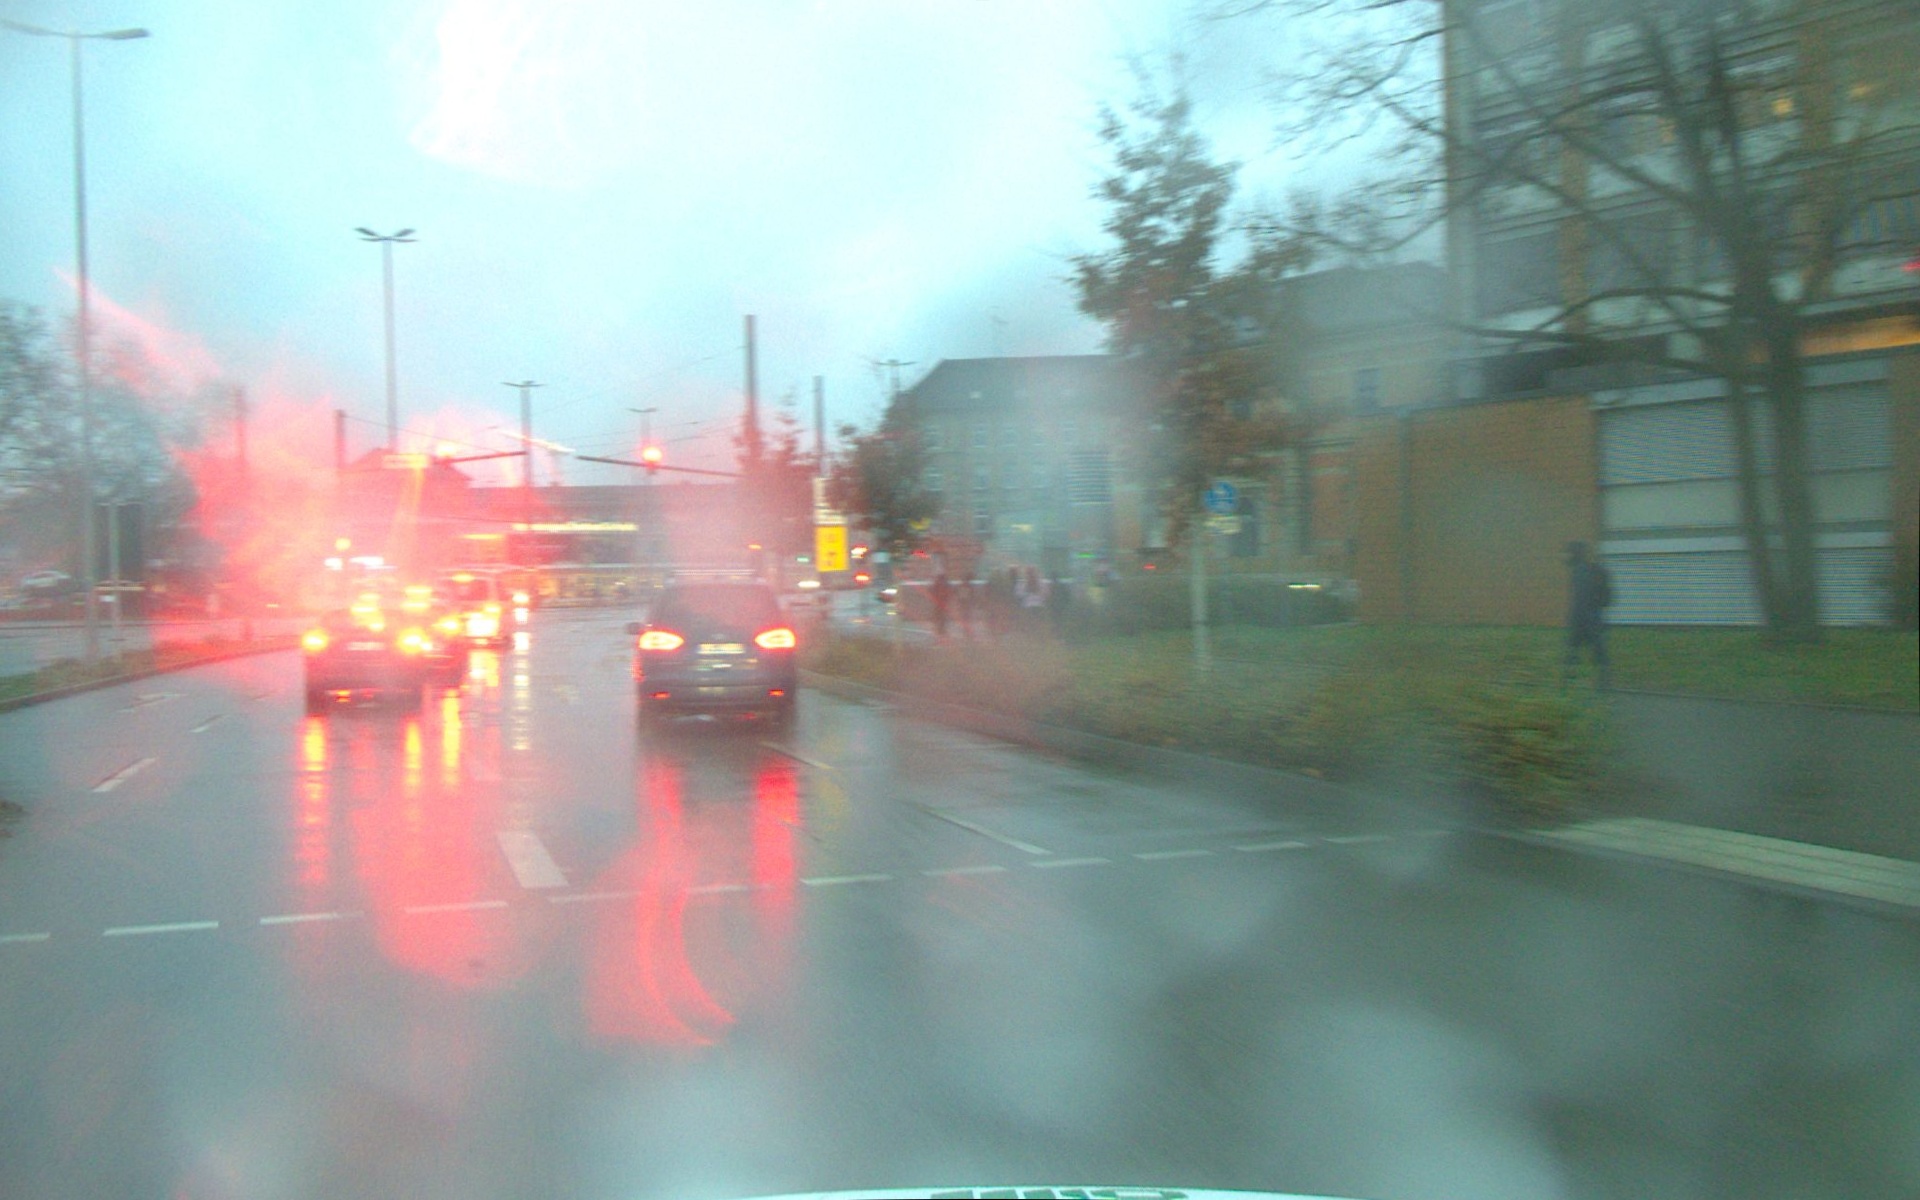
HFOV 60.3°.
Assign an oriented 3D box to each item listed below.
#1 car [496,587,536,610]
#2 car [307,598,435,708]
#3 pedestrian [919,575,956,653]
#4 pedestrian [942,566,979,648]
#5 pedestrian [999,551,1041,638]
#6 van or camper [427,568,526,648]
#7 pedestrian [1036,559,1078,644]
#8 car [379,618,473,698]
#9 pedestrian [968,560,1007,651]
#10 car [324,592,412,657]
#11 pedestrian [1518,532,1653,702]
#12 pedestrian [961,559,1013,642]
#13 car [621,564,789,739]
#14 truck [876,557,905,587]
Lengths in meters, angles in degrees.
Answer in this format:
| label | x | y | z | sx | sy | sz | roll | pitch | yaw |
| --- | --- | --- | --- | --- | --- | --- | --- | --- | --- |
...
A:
| label | x | y | z | sx | sy | sz | roll | pitch | yaw |
| --- | --- | --- | --- | --- | --- | --- | --- | --- | --- |
| car | -31.104 | -0.117 | 116.016 | 1.777 | 1.472 | 3.998 | -2 | 1 | -2 |
| car | -8.973 | 0.758 | 25.425 | 1.674 | 1.507 | 3.853 | 1 | 0 | -18 |
| pedestrian | -0.574 | 0.343 | 42.568 | 0.790 | 1.963 | 0.761 | 0 | 3 | 13 |
| pedestrian | 0.019 | 0.171 | 42.647 | 0.790 | 2.048 | 0.761 | 0 | 3 | 13 |
| pedestrian | 1.223 | -0.121 | 33.639 | 0.653 | 1.716 | 0.612 | -3 | 2 | 13 |
| van or camper | -13.693 | 0.194 | 47.128 | 2.162 | 2.146 | 4.975 | 0 | 0 | -10 |
| pedestrian | 2.002 | 0.028 | 33.996 | 0.702 | 1.717 | 0.761 | -2 | 0 | 12 |
| car | -10.540 | 1.102 | 32.818 | 1.632 | 1.428 | 4.101 | 0 | 0 | -16 |
| pedestrian | 0.566 | 0.100 | 33.862 | 0.571 | 1.812 | 0.770 | -3 | 0 | 13 |
| car | -17.368 | 0.684 | 48.677 | 1.851 | 1.803 | 3.989 | -1 | 1 | -12 |
| pedestrian | 6.671 | 0.175 | 17.676 | 0.795 | 1.717 | 1.065 | -3 | 1 | -18 |
| pedestrian | 0.610 | 0.009 | 36.841 | 0.844 | 1.822 | 0.739 | -2 | 0 | -36 |
| car | -3.061 | 0.511 | 19.805 | 1.745 | 1.831 | 4.415 | -1 | 1 | -9 |
| truck | -6.613 | -2.673 | 158.581 | 1.951 | 2.738 | 5.119 | -2 | 1 | 6 |
